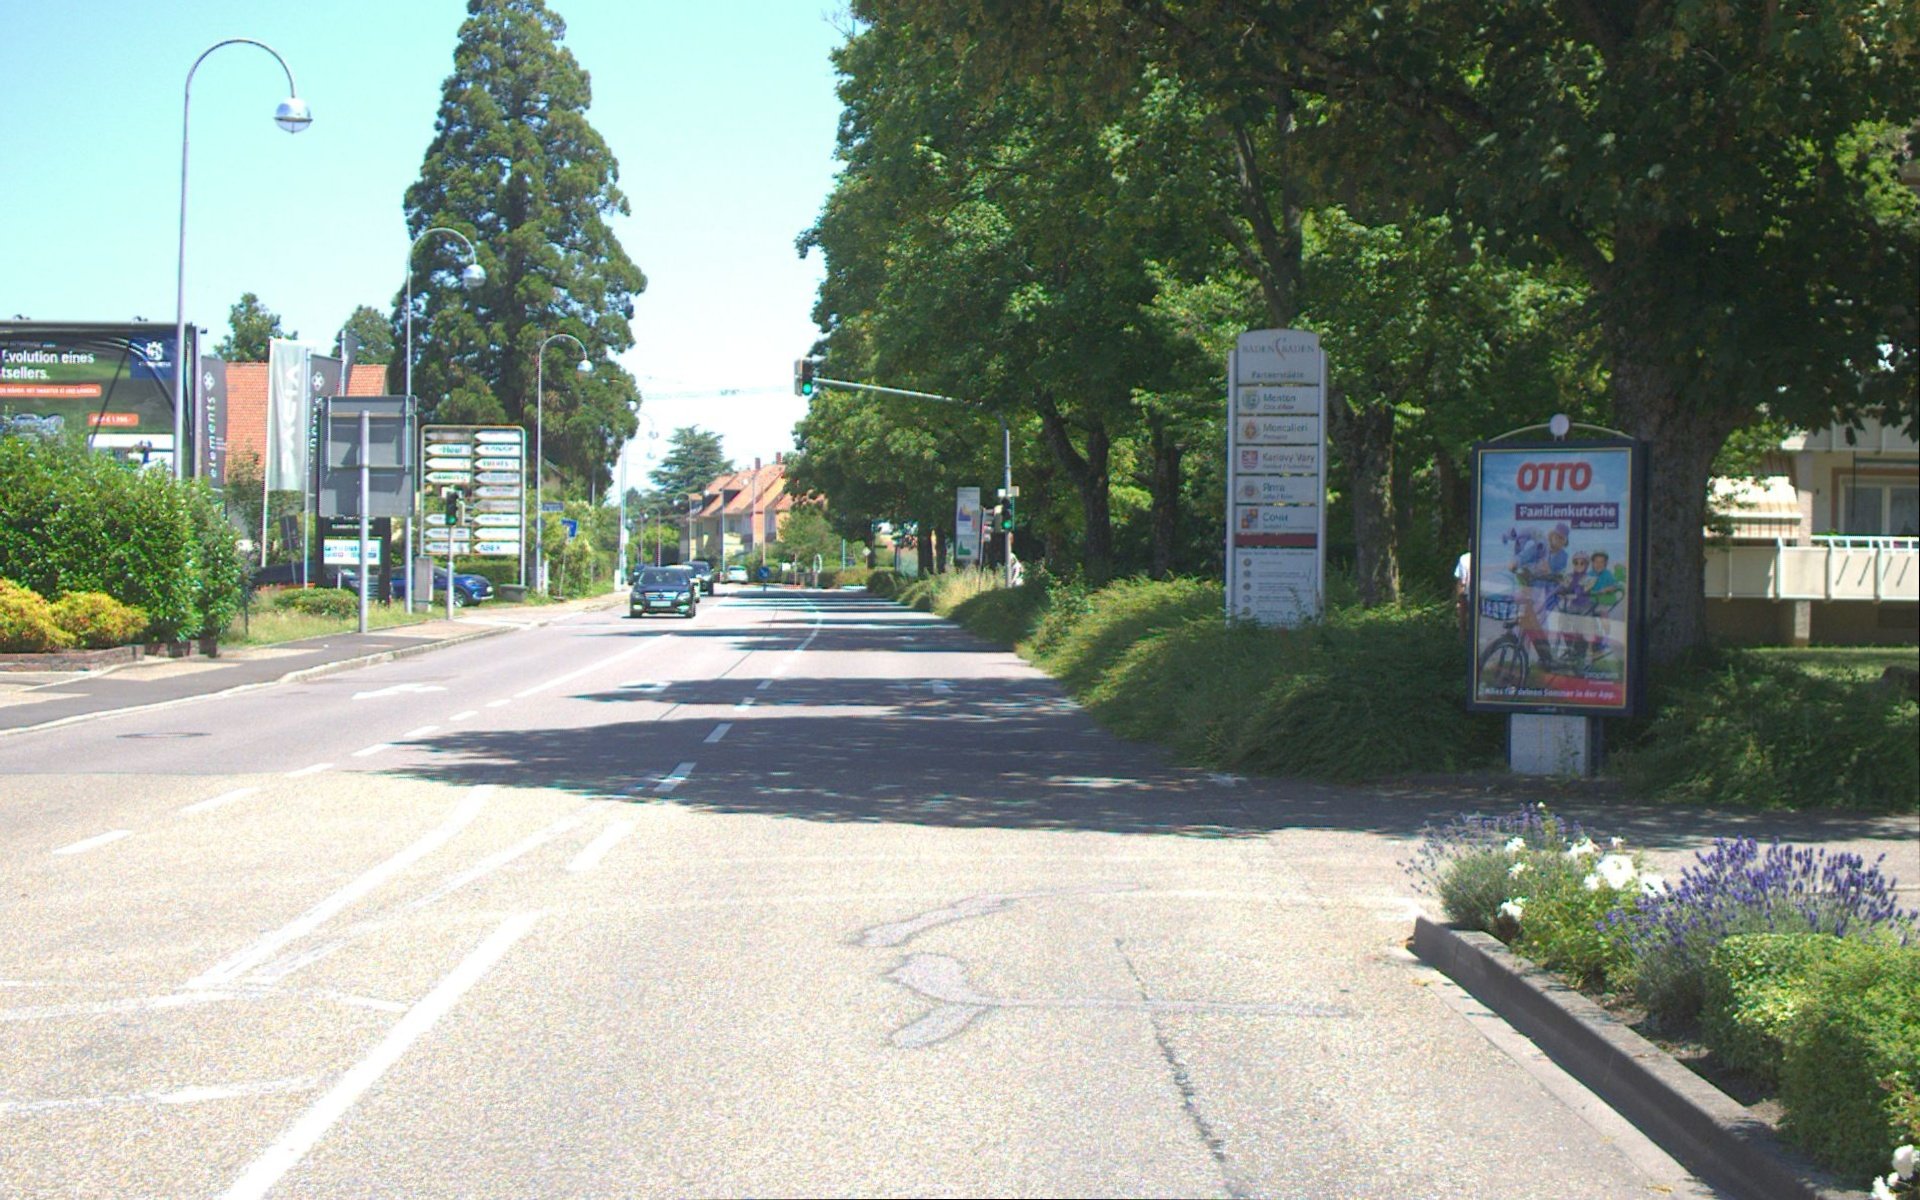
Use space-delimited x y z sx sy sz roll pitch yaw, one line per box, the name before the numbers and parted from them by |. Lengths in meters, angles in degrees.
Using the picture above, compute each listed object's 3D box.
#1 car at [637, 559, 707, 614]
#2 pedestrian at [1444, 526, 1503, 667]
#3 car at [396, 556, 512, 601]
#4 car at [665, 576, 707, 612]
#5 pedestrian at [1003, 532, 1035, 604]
car | -8.116 -0.397 97.226 1.710 1.490 4.278 0 1 -1
pedestrian | 7.018 -0.052 47.017 0.703 1.908 0.660 -1 0 2
car | -16.284 -0.702 110.751 3.491 1.422 1.601 0 1 1
car | -13.665 -0.312 171.626 1.879 1.712 4.310 0 1 -1
pedestrian | 1.438 -0.770 83.279 0.614 1.745 0.561 0 0 20
